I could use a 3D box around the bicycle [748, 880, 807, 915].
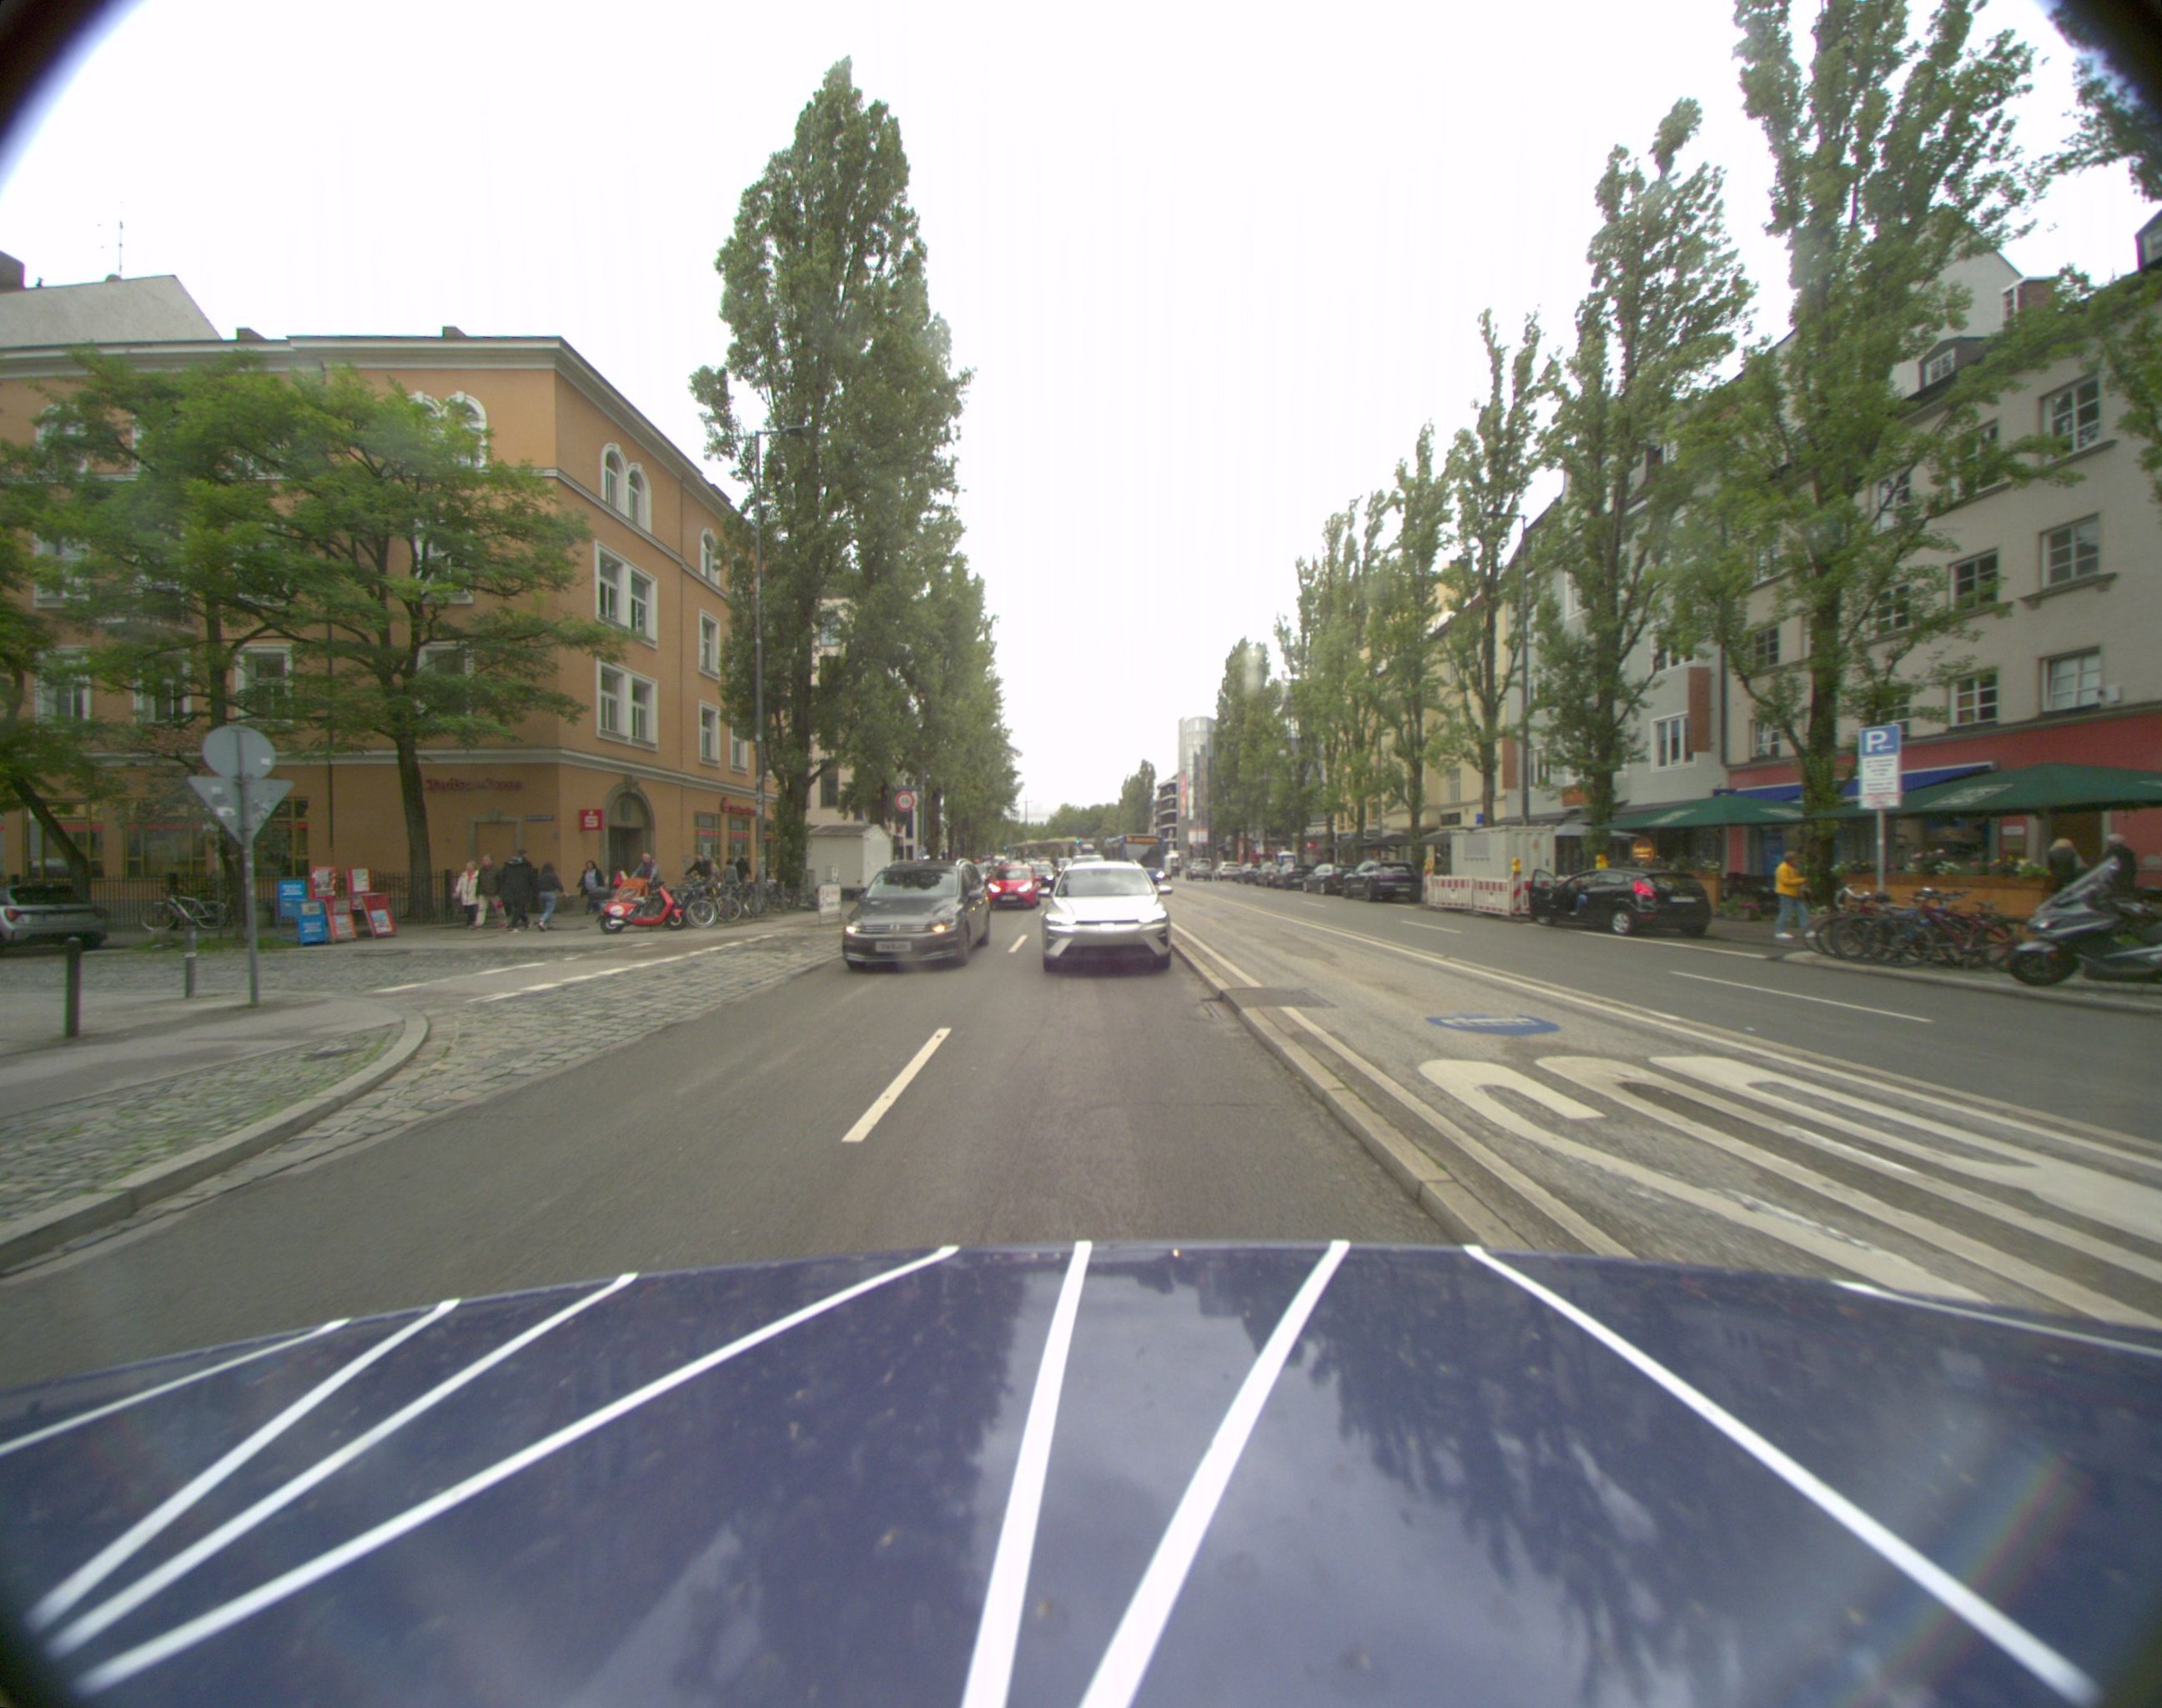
[{"bbox_3d":[-9.115,1.297,22.872,1.602,1.004,0.342,-1,0,-7],"label":"bicycle"}]

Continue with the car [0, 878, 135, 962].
[{"bbox_3d":[-22.470,1.366,15.433,3.997,1.511,1.906,-2,1,-1],"label":"car"}]

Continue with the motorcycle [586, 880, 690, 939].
[{"bbox_3d":[-9.920,1.223,17.105,1.963,1.214,0.514,-1,0,-25],"label":"motorcycle"}]

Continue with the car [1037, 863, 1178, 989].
[{"bbox_3d":[0.331,0.942,11.681,1.742,1.509,4.033,-2,0,0],"label":"car"}]

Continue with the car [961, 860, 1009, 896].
[{"bbox_3d":[-4.745,1.146,38.076,1.789,1.604,4.498,-2,0,0],"label":"car"}]

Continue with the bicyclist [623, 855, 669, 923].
[{"bbox_3d":[-11.595,0.917,20.279,0.831,1.747,0.667,-1,0,-8],"label":"bicyclist"}]

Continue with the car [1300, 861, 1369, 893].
[{"bbox_3d":[12.001,1.051,36.242,1.802,1.431,4.574,0,0,1],"label":"car"}]

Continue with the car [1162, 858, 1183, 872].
[{"bbox_3d":[10.028,1.168,83.546,1.750,1.509,4.363,0,0,0],"label":"car"}]

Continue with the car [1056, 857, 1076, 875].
[{"bbox_3d":[-1.500,1.146,76.009,1.707,1.683,4.001,-2,0,-5],"label":"car"}]

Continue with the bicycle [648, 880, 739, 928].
[{"bbox_3d":[-9.539,1.217,18.712,1.945,1.130,0.561,-1,0,1],"label":"bicycle"}]

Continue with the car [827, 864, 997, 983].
[{"bbox_3d":[-2.594,1.003,12.746,1.882,1.582,4.192,-2,0,0],"label":"car"}]

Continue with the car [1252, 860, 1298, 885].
[{"bbox_3d":[12.234,1.141,48.171,1.802,1.495,4.574,0,0,1],"label":"car"}]

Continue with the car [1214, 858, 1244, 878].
[{"bbox_3d":[12.513,1.169,64.292,1.802,1.568,4.105,0,0,1],"label":"car"}]

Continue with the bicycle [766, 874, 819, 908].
[{"bbox_3d":[-9.392,1.195,24.766,1.610,1.078,0.321,-1,0,-22],"label":"bicycle"}]

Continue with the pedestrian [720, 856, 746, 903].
[{"bbox_3d":[-12.777,0.931,27.882,0.619,1.684,0.574,-2,1,-4],"label":"pedestrian"}]

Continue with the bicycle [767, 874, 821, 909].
[{"bbox_3d":[-9.234,1.194,24.436,1.604,1.078,0.341,-1,0,-22],"label":"bicycle"}]

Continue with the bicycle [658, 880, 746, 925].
[{"bbox_3d":[-9.635,1.229,19.362,1.945,1.082,0.561,-1,0,1],"label":"bicycle"}]

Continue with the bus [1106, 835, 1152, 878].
[{"bbox_3d":[3.482,0.184,57.117,2.690,2.932,10.051,-1,0,-1],"label":"bus"}]

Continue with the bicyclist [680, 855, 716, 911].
[{"bbox_3d":[-11.844,0.890,23.512,0.741,1.677,0.748,-1,0,-7],"label":"bicyclist"}]

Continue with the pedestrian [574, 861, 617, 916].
[{"bbox_3d":[-14.276,1.010,22.357,0.745,1.562,0.664,-2,1,3],"label":"pedestrian"}]

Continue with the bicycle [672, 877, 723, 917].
[{"bbox_3d":[-11.845,1.311,23.547,0.737,1.113,2.100,-1,0,-8],"label":"bicycle"}]

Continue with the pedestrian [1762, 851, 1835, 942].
[{"bbox_3d":[13.762,0.797,14.589,0.699,1.716,0.732,0,0,-2],"label":"pedestrian"}]

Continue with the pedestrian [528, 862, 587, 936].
[{"bbox_3d":[-12.184,1.025,17.705,0.746,1.651,0.771,-2,1,0],"label":"pedestrian"}]

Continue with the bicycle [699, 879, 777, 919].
[{"bbox_3d":[-9.678,1.263,21.459,1.945,1.078,0.561,-1,0,1],"label":"bicycle"}]

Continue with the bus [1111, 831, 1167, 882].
[{"bbox_3d":[3.558,0.160,48.722,2.696,2.932,10.051,-1,0,-1],"label":"bus"}]

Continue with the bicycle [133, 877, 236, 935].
[{"bbox_3d":[-22.697,1.313,19.257,1.945,1.364,0.561,-2,0,1],"label":"bicycle"}]

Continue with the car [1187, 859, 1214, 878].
[{"bbox_3d":[10.025,1.167,64.095,1.718,1.532,4.077,1,0,1],"label":"car"}]

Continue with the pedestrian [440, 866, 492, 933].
[{"bbox_3d":[-14.775,1.087,18.266,0.699,1.562,0.575,-2,1,3],"label":"pedestrian"}]

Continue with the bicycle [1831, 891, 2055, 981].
[{"bbox_3d":[11.592,1.075,10.311,1.976,1.119,0.283,-2,1,37],"label":"bicycle"}]

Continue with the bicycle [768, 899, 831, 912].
[{"bbox_3d":[-8.751,1.602,23.690,1.677,0.371,0.830,1,0,-7],"label":"bicycle"}]

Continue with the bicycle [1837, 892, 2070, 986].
[{"bbox_3d":[11.402,1.077,10.026,1.976,1.119,0.361,-2,1,37],"label":"bicycle"}]

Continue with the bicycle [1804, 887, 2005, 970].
[{"bbox_3d":[12.071,1.063,11.227,1.976,1.119,0.343,-2,1,37],"label":"bicycle"}]

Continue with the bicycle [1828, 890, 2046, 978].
[{"bbox_3d":[11.765,1.067,10.536,1.976,1.119,0.283,-2,1,37],"label":"bicycle"}]

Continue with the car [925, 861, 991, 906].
[{"bbox_3d":[-4.682,1.066,29.452,1.789,1.544,4.498,-2,0,0],"label":"car"}]

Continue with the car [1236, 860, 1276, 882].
[{"bbox_3d":[12.295,1.179,53.690,1.802,1.431,4.574,0,0,1],"label":"car"}]

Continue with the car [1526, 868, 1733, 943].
[{"bbox_3d":[12.001,1.056,16.963,1.760,1.414,3.784,1,0,-3],"label":"car"}]

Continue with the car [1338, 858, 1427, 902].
[{"bbox_3d":[11.873,0.961,30.247,1.802,1.603,4.574,0,0,1],"label":"car"}]

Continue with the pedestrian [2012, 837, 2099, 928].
[{"bbox_3d":[21.066,0.596,16.447,0.699,1.915,0.905,0,0,3],"label":"pedestrian"}]

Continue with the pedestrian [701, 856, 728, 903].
[{"bbox_3d":[-13.444,0.918,27.871,0.634,1.684,0.574,-2,1,-2],"label":"pedestrian"}]

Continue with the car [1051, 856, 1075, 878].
[{"bbox_3d":[-1.516,1.071,62.605,1.707,1.683,4.001,-2,0,-5],"label":"car"}]

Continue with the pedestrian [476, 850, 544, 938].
[{"bbox_3d":[-13.037,0.885,17.366,0.839,1.937,0.802,-2,1,0],"label":"pedestrian"}]

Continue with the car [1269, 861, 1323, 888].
[{"bbox_3d":[12.023,1.102,42.770,1.802,1.431,4.574,0,0,1],"label":"car"}]

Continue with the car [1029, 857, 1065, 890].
[{"bbox_3d":[-1.917,1.016,41.709,1.707,1.683,4.001,-2,0,-5],"label":"car"}]

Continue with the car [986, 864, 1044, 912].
[{"bbox_3d":[-2.224,1.118,26.365,1.616,1.425,4.003,-2,0,0],"label":"car"}]

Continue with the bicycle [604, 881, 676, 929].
[{"bbox_3d":[-11.524,1.306,19.957,0.887,1.113,2.100,-1,0,-8],"label":"bicycle"}]

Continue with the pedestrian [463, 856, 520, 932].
[{"bbox_3d":[-14.060,0.938,18.133,0.699,1.756,0.732,-2,1,3],"label":"pedestrian"}]

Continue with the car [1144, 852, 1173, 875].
[{"bbox_3d":[6.761,0.835,66.422,1.897,1.921,5.071,0,0,-1],"label":"car"}]

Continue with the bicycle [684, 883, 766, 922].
[{"bbox_3d":[-9.685,1.314,20.710,1.945,1.004,0.561,-1,0,1],"label":"bicycle"}]

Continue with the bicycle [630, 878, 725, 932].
[{"bbox_3d":[-9.576,1.196,18.068,1.945,1.232,0.561,-1,0,1],"label":"bicycle"}]

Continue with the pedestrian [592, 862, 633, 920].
[{"bbox_3d":[-12.961,1.016,21.052,0.746,1.562,0.614,-2,1,-12],"label":"pedestrian"}]

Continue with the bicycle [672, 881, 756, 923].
[{"bbox_3d":[-9.697,1.265,20.106,1.945,1.069,0.561,-1,0,1],"label":"bicycle"}]

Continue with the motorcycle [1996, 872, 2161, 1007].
[{"bbox_3d":[11.784,0.914,8.151,0.747,1.406,2.448,0,0,-33],"label":"motorcycle"}]

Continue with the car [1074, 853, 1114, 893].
[{"bbox_3d":[0.616,0.895,39.030,1.839,1.831,5.129,-2,1,0],"label":"car"}]

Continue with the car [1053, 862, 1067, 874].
[{"bbox_3d":[-2.980,1.944,106.517,1.789,1.604,4.498,-2,0,0],"label":"car"}]

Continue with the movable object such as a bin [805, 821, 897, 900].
[{"bbox_3d":[-9.705,0.255,32.509,2.445,3.118,4.544,1,0,1],"label":"movable object such as a bin"}]
